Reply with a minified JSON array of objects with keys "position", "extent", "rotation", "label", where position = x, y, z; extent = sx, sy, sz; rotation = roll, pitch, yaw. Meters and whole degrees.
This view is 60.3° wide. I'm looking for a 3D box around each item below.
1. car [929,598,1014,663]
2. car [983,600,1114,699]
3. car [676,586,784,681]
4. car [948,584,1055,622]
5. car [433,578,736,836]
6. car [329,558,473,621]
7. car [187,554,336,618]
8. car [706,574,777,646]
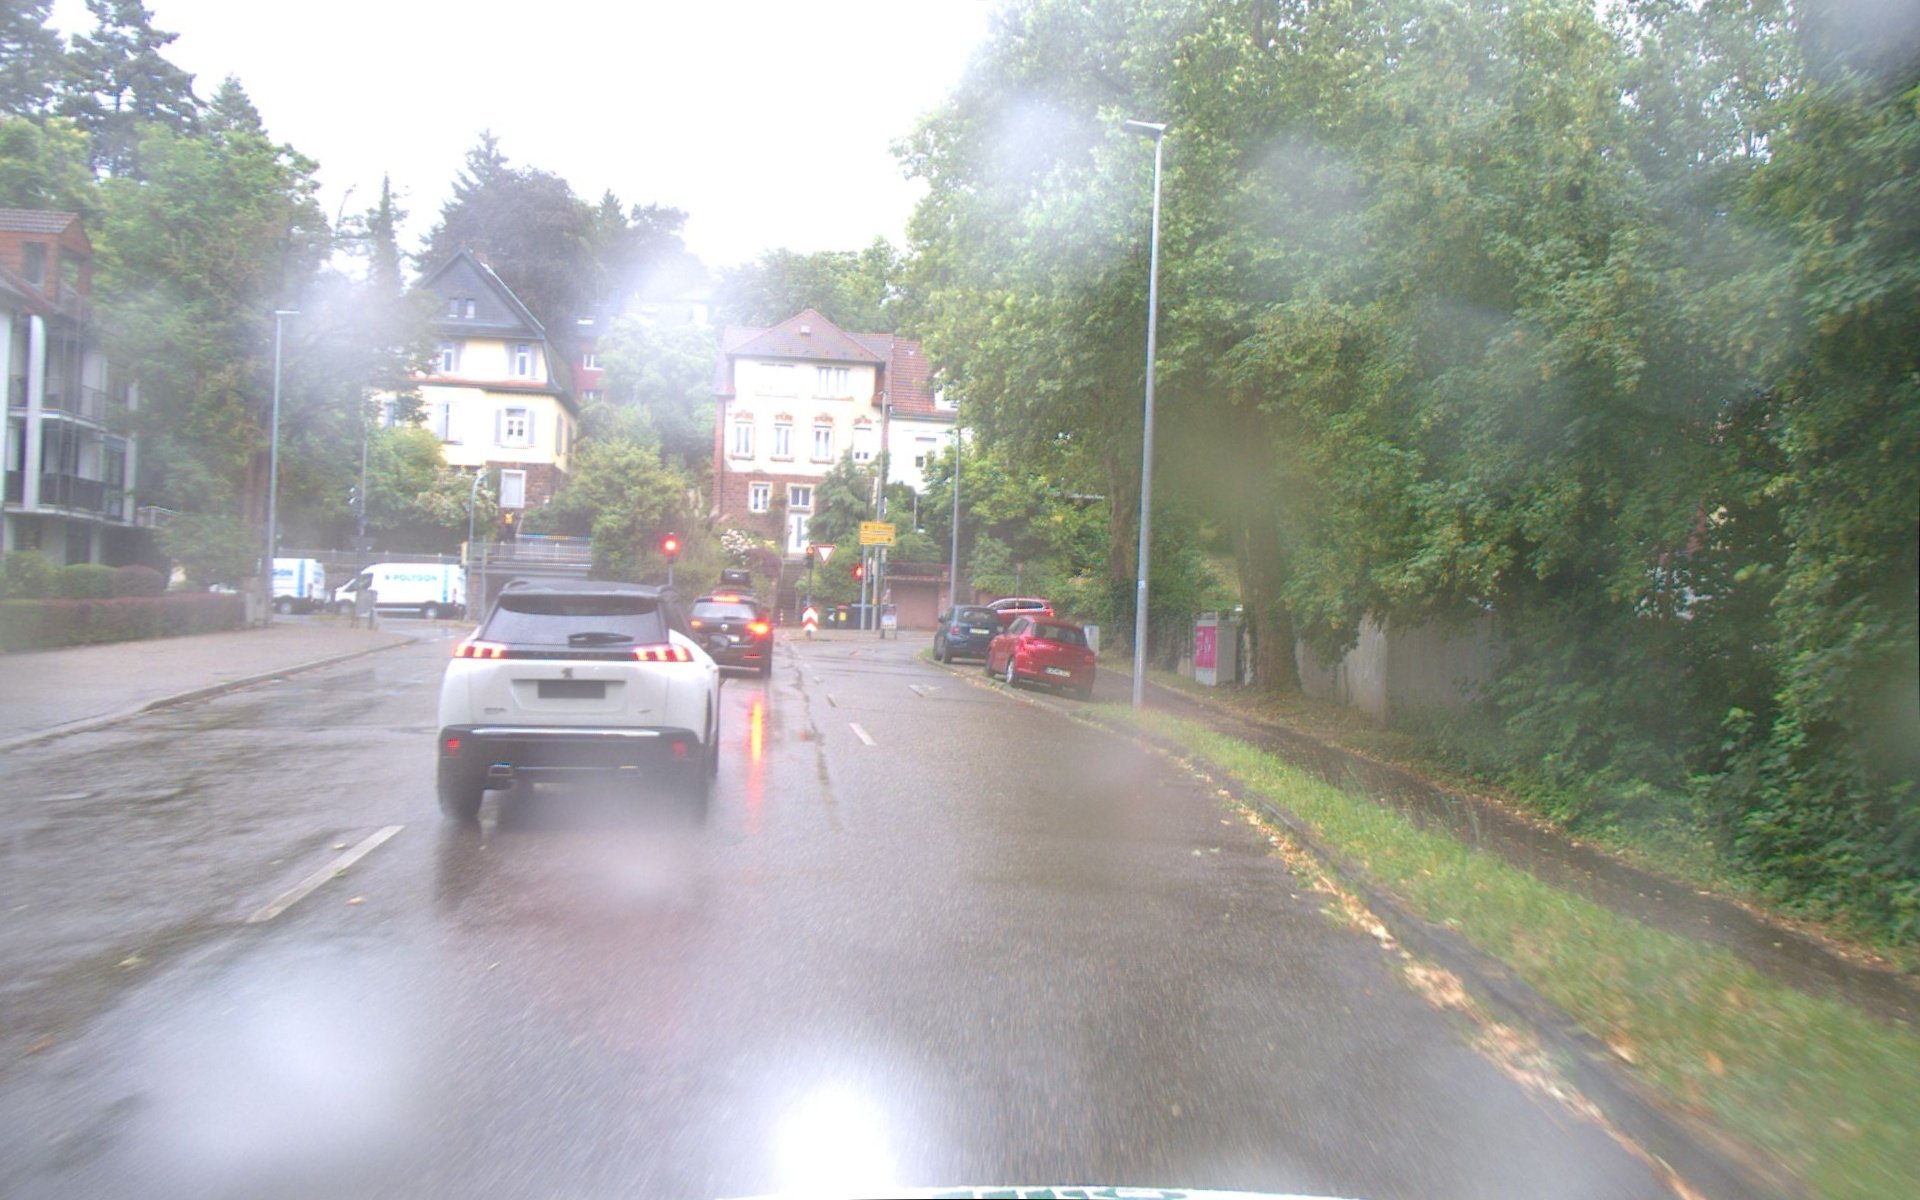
[{"position":[0.263,0.779,43.584],"extent":[1.716,1.517,3.594],"rotation":[4,-1,-7],"label":"car"},{"position":[1.759,0.980,34.295],"extent":[1.787,1.542,3.736],"rotation":[9,1,-9],"label":"car"},{"position":[-4.330,0.580,31.565],"extent":[1.797,1.481,4.652],"rotation":[4,1,-7],"label":"car"},{"position":[1.786,0.141,72.167],"extent":[4.479,1.629,1.772],"rotation":[0,-1,-6],"label":"car"},{"position":[-2.578,0.647,12.286],"extent":[1.719,1.563,4.361],"rotation":[1,0,-7],"label":"car"},{"position":[-24.767,-0.442,73.425],"extent":[5.551,2.538,2.313],"rotation":[2,-1,-6],"label":"car"},{"position":[-30.733,-0.580,72.941],"extent":[5.455,2.538,2.313],"rotation":[2,-1,-6],"label":"car"},{"position":[-5.949,0.224,44.949],"extent":[1.727,1.740,4.593],"rotation":[3,1,-8],"label":"car"}]
